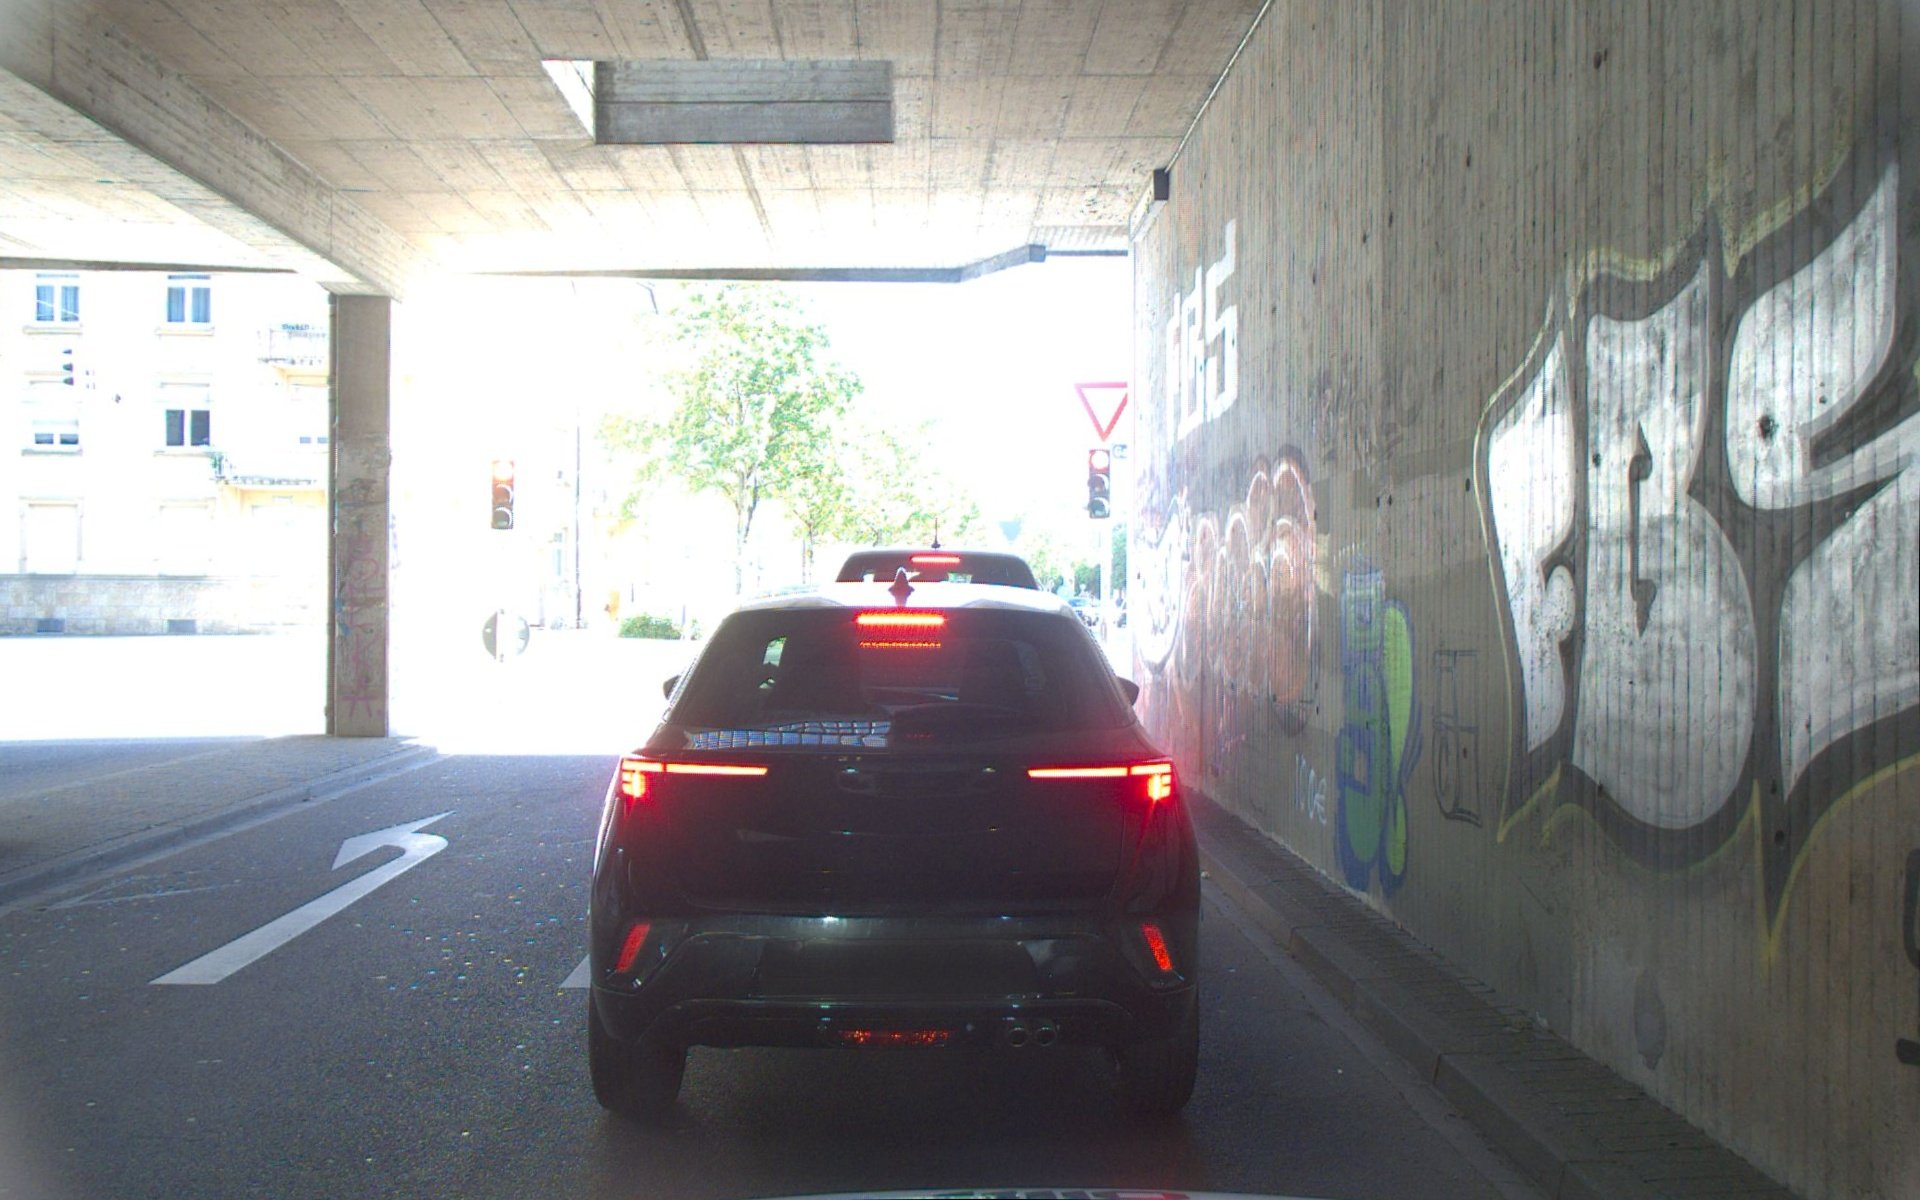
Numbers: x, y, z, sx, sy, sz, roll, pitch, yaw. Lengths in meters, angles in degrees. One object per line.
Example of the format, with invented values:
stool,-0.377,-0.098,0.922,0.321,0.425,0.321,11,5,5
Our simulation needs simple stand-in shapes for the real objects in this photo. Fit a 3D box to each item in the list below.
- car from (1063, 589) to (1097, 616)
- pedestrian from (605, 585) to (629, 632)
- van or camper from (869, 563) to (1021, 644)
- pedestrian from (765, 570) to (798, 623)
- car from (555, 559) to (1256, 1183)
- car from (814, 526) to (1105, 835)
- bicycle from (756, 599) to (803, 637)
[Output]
car,6.555,0.129,90.374,1.564,1.477,3.798,0,0,8
pedestrian,-12.671,0.309,61.107,0.609,1.734,0.723,1,-1,15
van or camper,-0.358,0.086,43.528,3.795,2.049,2.002,0,0,7
pedestrian,-5.543,-0.092,51.302,0.720,1.612,0.891,1,-1,15
car,-0.148,0.667,6.118,1.718,1.525,4.000,1,0,-1
car,-0.023,0.483,12.084,1.749,1.865,3.960,1,0,-1
bicycle,-5.570,0.554,51.217,0.721,1.150,2.027,0,0,16
